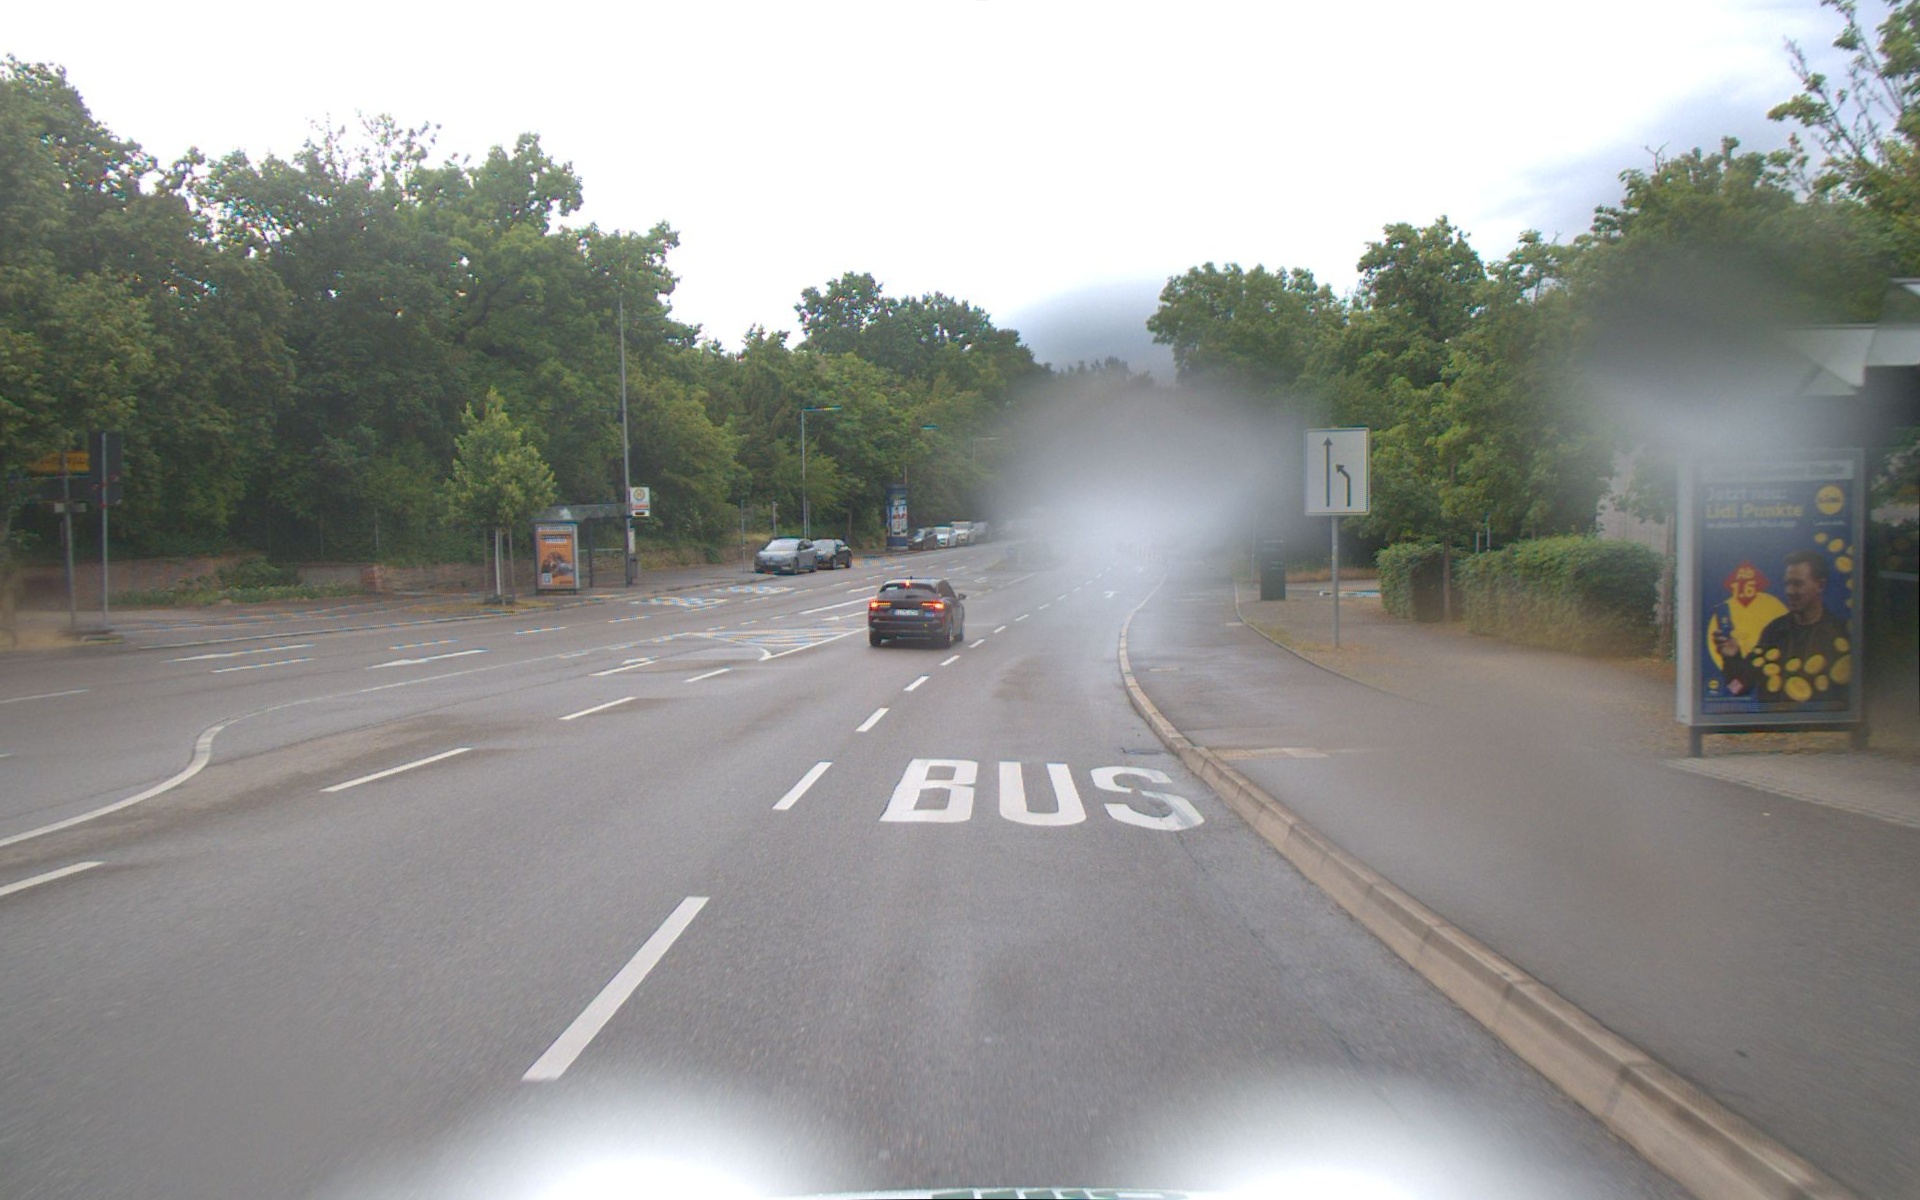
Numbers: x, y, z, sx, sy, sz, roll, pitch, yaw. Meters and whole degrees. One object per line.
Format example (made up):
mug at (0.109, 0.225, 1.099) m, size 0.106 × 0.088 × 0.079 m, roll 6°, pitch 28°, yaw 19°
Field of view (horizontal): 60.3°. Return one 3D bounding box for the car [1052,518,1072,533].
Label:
car at (10.328, -7.560, 167.682) m, size 1.568 × 1.536 × 3.143 m, roll 1°, pitch 4°, yaw 13°

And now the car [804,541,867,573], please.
car at (-6.126, -2.155, 81.637) m, size 1.865 × 1.438 × 4.788 m, roll 2°, pitch 3°, yaw 11°

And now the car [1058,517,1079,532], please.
car at (11.337, -7.920, 172.932) m, size 1.568 × 1.536 × 3.982 m, roll 1°, pitch 4°, yaw 13°

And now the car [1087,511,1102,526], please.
car at (15.451, -9.372, 189.902) m, size 1.429 × 1.598 × 2.988 m, roll 0°, pitch 4°, yaw 11°

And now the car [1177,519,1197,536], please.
car at (21.624, -6.875, 157.367) m, size 1.783 × 1.511 × 4.204 m, roll 0°, pitch 2°, yaw 9°

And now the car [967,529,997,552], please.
car at (1.756, -4.635, 128.711) m, size 1.694 × 1.677 × 4.577 m, roll 1°, pitch 4°, yaw 9°

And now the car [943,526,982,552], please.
car at (0.189, -4.507, 121.582) m, size 1.951 × 1.795 × 4.966 m, roll 1°, pitch 3°, yaw 11°

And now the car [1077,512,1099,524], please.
car at (14.029, -9.010, 181.639) m, size 1.830 × 1.326 × 4.476 m, roll 1°, pitch 4°, yaw 12°

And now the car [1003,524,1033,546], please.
car at (5.075, -5.691, 144.619) m, size 1.951 × 1.729 × 4.621 m, roll 0°, pitch 4°, yaw 10°

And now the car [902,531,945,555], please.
car at (-2.393, -3.803, 109.806) m, size 1.712 × 1.470 × 4.592 m, roll 1°, pitch 4°, yaw 14°

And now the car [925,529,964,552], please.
car at (-1.066, -4.158, 115.472) m, size 1.682 × 1.485 × 4.714 m, roll 1°, pitch 4°, yaw 12°

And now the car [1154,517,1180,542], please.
car at (14.493, -4.925, 115.644) m, size 1.783 × 1.642 × 4.257 m, roll 1°, pitch 3°, yaw 8°

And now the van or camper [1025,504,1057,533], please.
van or camper at (7.700, -7.742, 157.093) m, size 2.098 × 2.672 × 5.689 m, roll 0°, pitch 4°, yaw 13°

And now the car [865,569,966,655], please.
car at (-0.904, 0.212, 35.825) m, size 1.841 × 1.490 × 4.004 m, roll 2°, pitch 4°, yaw 3°

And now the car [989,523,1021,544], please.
car at (3.806, -5.640, 139.186) m, size 1.878 × 1.644 × 4.495 m, roll 0°, pitch 3°, yaw 13°

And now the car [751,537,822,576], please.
car at (-7.845, -2.013, 75.284) m, size 1.802 × 1.616 × 4.934 m, roll 2°, pitch 3°, yaw 11°

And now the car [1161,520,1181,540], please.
car at (17.500, -5.816, 136.959) m, size 1.526 × 1.485 × 3.681 m, roll 1°, pitch 4°, yaw 9°

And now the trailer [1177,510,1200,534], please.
trailer at (22.636, -7.759, 163.820) m, size 1.865 × 2.286 × 4.774 m, roll 1°, pitch 4°, yaw 12°
